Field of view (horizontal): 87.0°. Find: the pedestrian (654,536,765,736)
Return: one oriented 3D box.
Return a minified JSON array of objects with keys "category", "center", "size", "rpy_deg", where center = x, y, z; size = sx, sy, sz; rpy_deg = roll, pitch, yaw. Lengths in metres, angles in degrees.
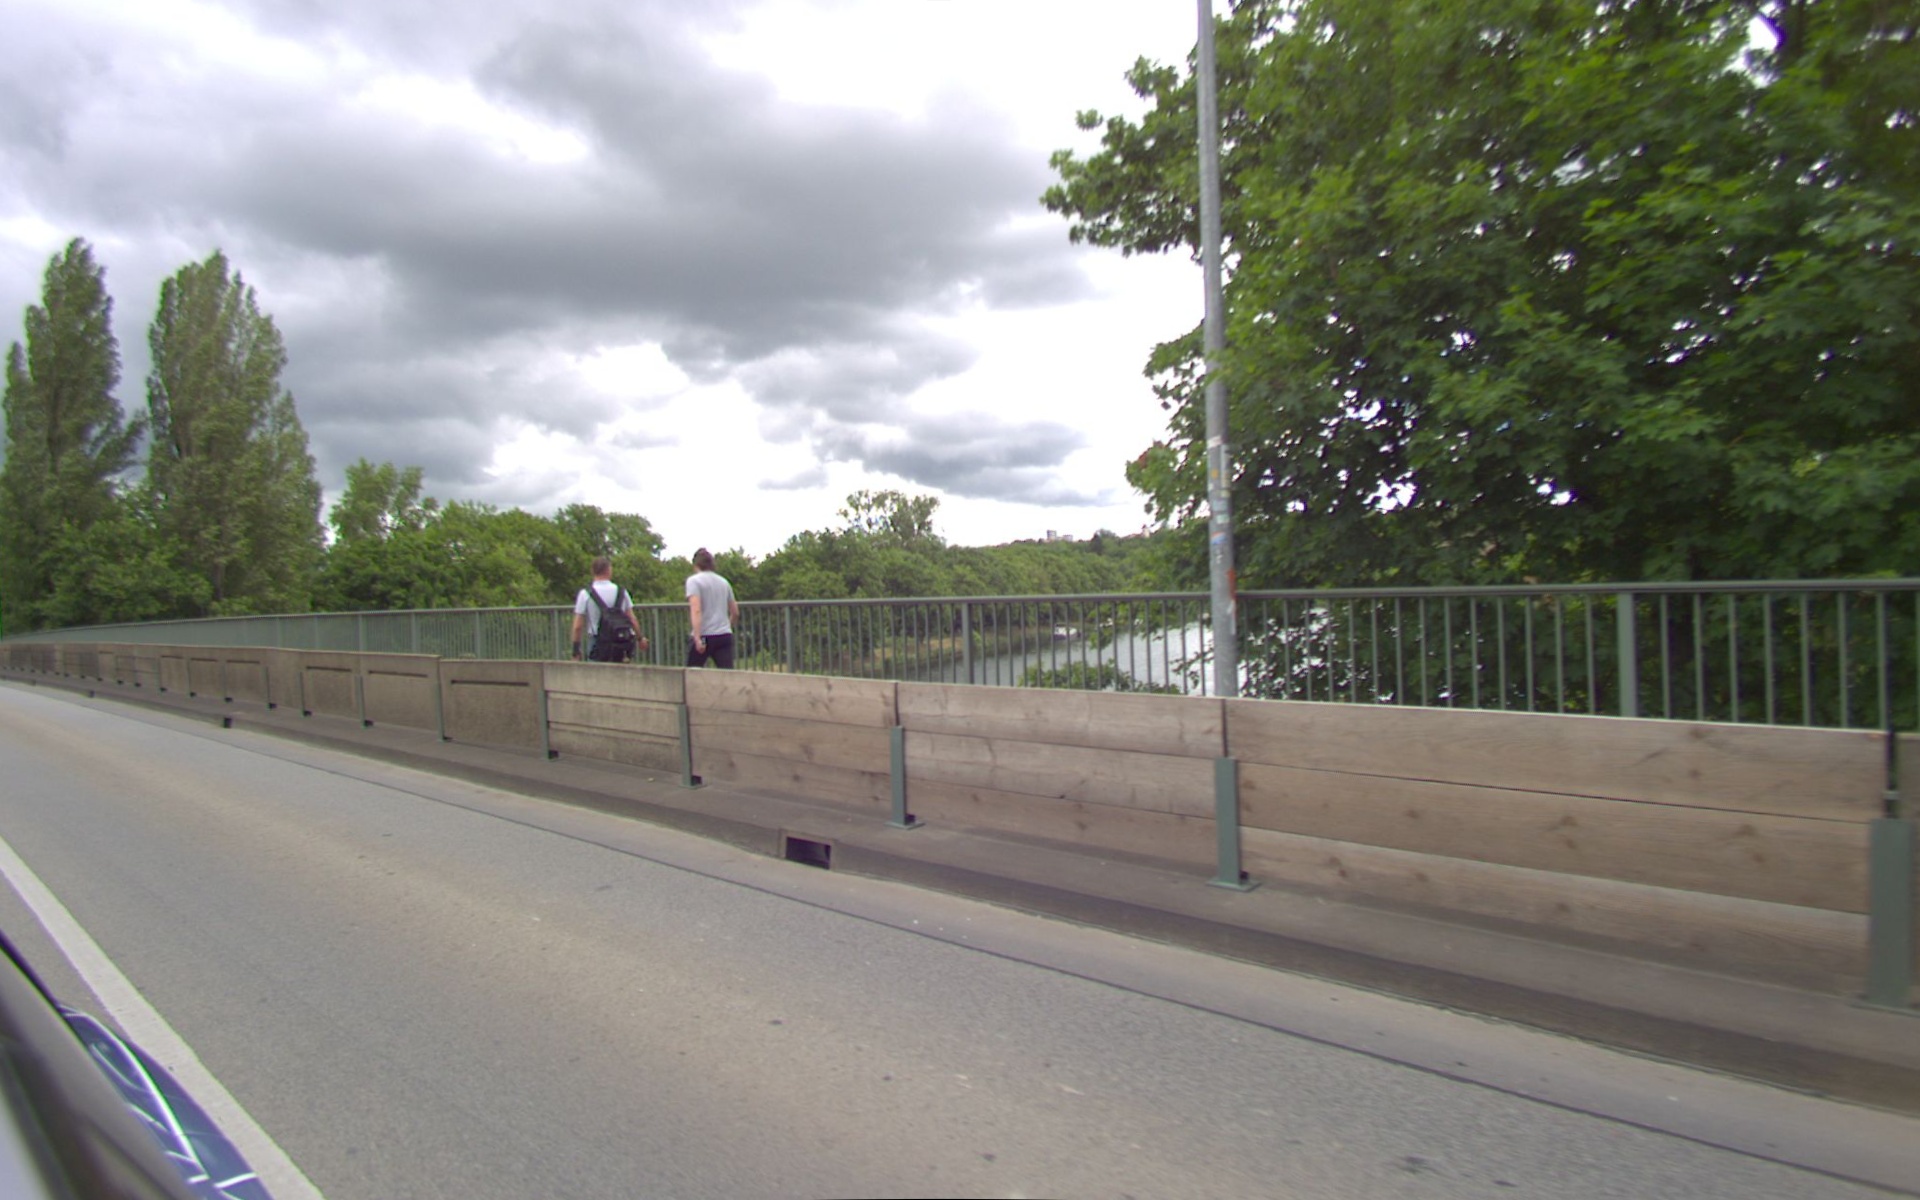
[{"category":"pedestrian","center":[-2.441,0.333,9.862],"size":[0.722,1.853,0.713],"rpy_deg":[-2,0,41]}]

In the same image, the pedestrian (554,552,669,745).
[{"category":"pedestrian","center":[-3.280,0.435,9.523],"size":[0.722,1.714,0.713],"rpy_deg":[-2,0,41]}]
